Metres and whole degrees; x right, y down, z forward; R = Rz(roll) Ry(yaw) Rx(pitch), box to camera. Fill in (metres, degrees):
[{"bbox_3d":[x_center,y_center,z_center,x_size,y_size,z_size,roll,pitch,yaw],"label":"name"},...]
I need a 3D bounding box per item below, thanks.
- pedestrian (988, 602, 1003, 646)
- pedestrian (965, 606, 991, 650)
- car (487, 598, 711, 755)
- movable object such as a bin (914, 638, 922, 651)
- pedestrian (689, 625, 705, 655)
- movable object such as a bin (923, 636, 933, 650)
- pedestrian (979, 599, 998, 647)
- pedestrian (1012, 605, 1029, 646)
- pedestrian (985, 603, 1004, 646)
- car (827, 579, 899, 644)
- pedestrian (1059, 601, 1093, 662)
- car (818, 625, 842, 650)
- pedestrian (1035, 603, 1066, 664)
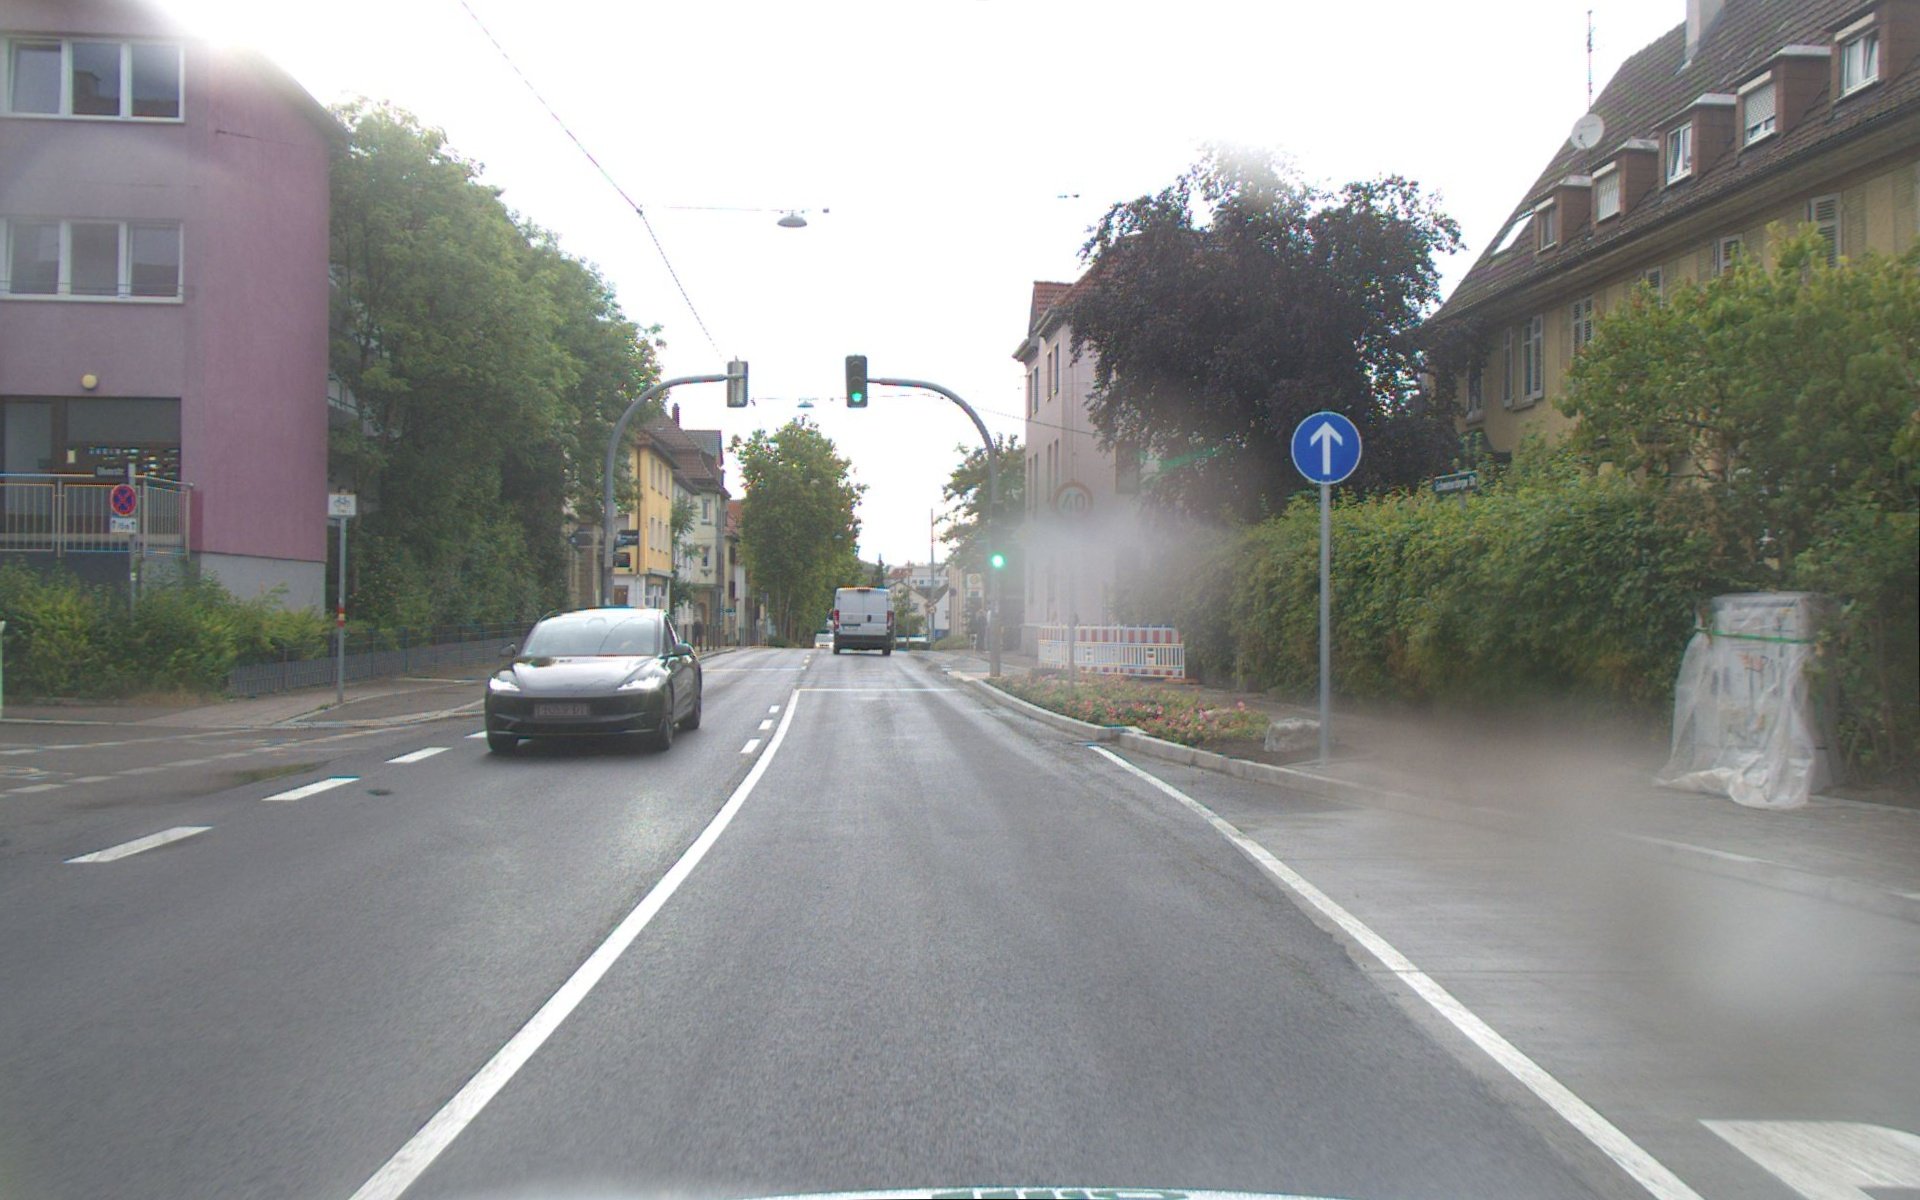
[{"bbox_3d":[1.436,0.972,67.103,0.437,1.738,0.558,-3,-1,14],"label":"pedestrian"},{"bbox_3d":[0.707,1.114,65.820,0.630,1.740,0.739,-2,-1,-38],"label":"pedestrian"},{"bbox_3d":[-3.790,0.727,18.066,1.748,1.478,4.386,0,0,-4],"label":"car"},{"bbox_3d":[-3.305,3.499,130.463,0.607,0.953,0.685,-3,-2,-3],"label":"movable object such as a bin"},{"bbox_3d":[-15.027,2.293,94.465,0.799,1.709,0.991,1,-2,-6],"label":"pedestrian"},{"bbox_3d":[-2.549,3.416,130.683,0.681,1.101,0.778,-3,-2,-3],"label":"movable object such as a bin"},{"bbox_3d":[1.144,0.910,66.365,0.477,1.908,0.632,-3,-1,28],"label":"pedestrian"},{"bbox_3d":[2.762,1.172,75.676,0.633,1.863,0.742,-1,-1,10],"label":"pedestrian"},{"bbox_3d":[1.452,1.047,69.982,0.648,1.772,0.827,-1,-1,-9],"label":"pedestrian"},{"bbox_3d":[-3.475,0.416,58.440,2.301,2.198,4.771,0,0,-6],"label":"car"},{"bbox_3d":[3.109,0.846,44.470,0.856,1.588,1.049,1,-1,3],"label":"pedestrian"},{"bbox_3d":[-10.492,3.051,133.714,1.845,1.903,4.449,0,-2,-4],"label":"car"},{"bbox_3d":[2.495,0.929,45.842,0.768,1.670,1.222,1,-1,0],"label":"pedestrian"}]
